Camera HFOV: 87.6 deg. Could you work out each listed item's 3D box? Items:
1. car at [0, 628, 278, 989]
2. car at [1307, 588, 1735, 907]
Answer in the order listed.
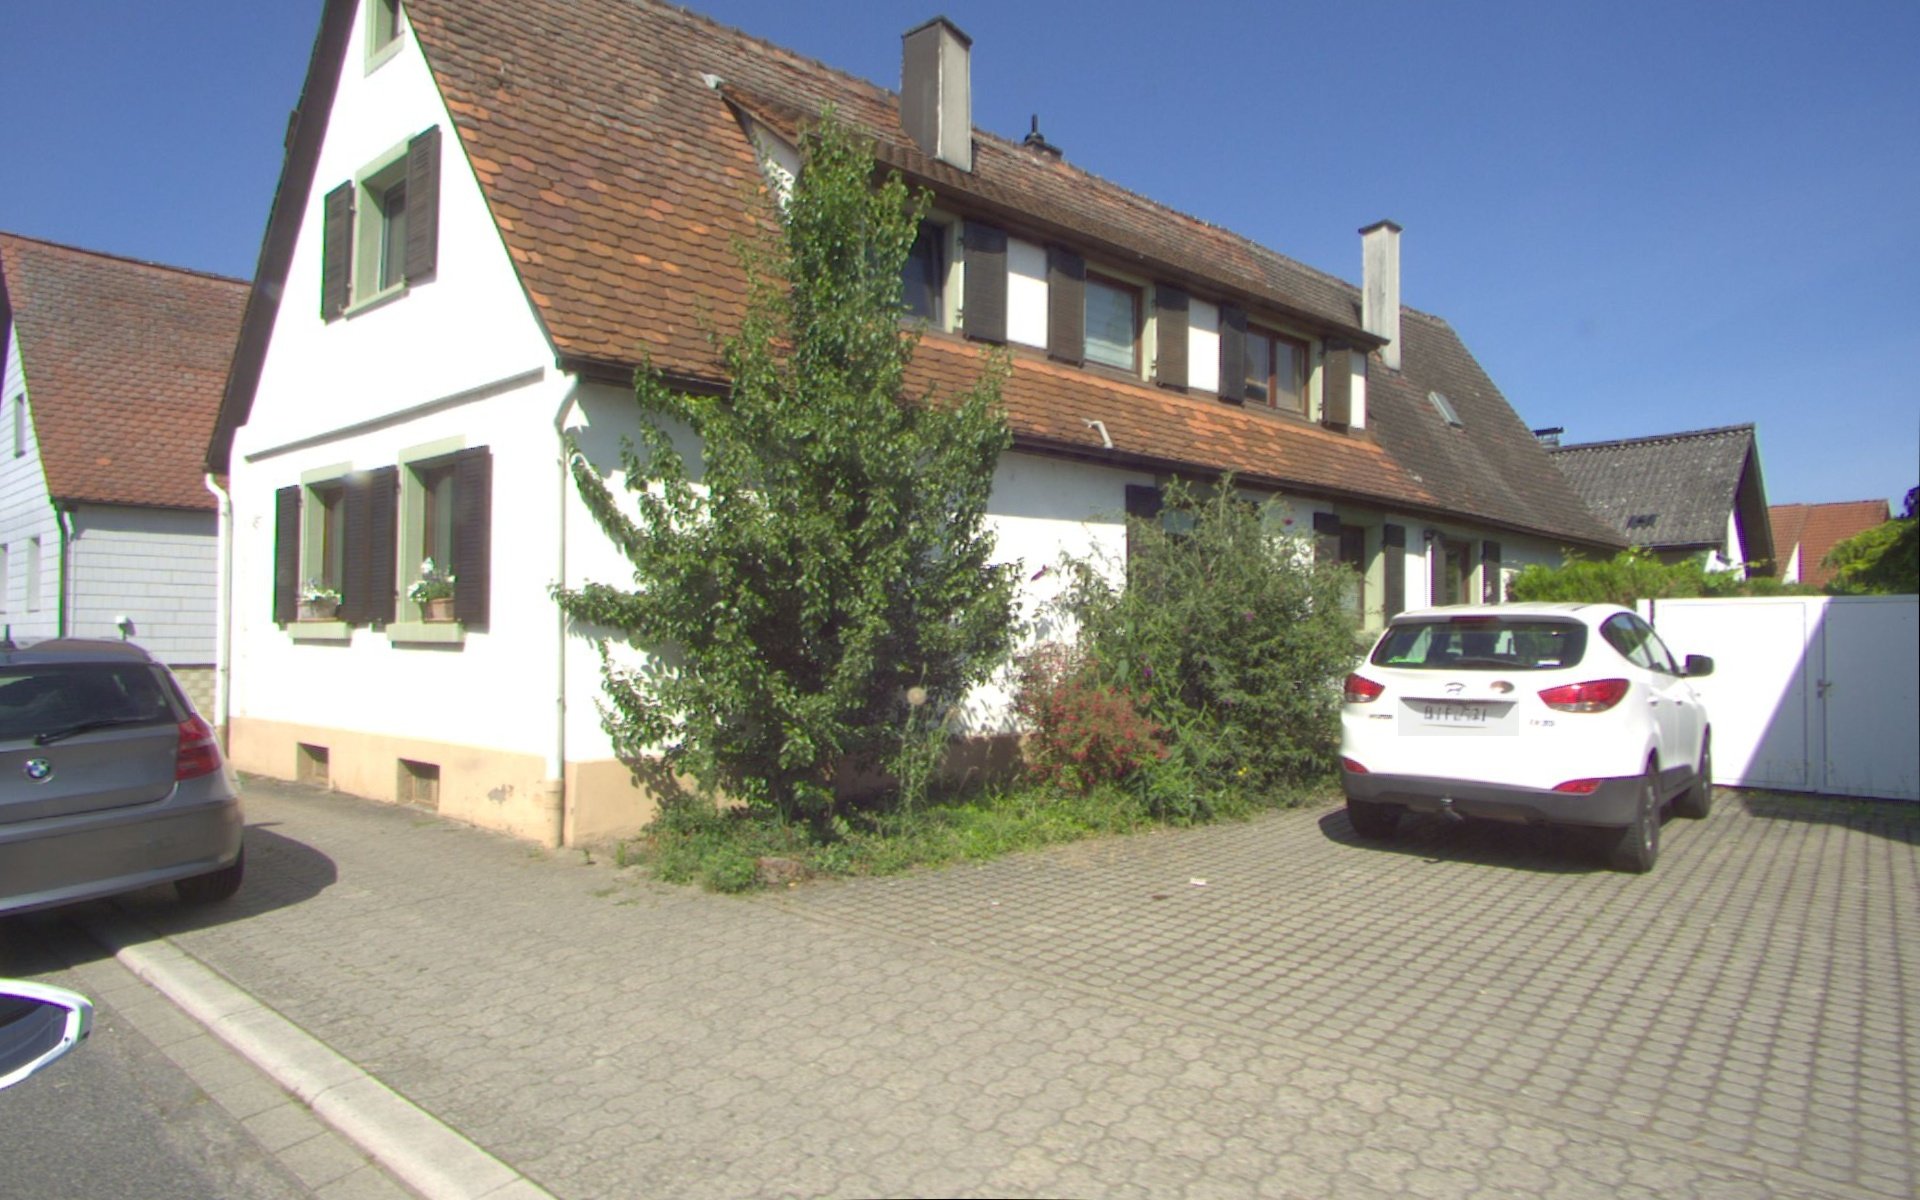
[{"bbox_3d":[-5.364,0.900,5.361,3.840,1.451,1.698,-1,-1,37],"label":"car"},{"bbox_3d":[4.342,0.865,7.420,1.793,1.678,4.152,-2,-3,44],"label":"car"}]
